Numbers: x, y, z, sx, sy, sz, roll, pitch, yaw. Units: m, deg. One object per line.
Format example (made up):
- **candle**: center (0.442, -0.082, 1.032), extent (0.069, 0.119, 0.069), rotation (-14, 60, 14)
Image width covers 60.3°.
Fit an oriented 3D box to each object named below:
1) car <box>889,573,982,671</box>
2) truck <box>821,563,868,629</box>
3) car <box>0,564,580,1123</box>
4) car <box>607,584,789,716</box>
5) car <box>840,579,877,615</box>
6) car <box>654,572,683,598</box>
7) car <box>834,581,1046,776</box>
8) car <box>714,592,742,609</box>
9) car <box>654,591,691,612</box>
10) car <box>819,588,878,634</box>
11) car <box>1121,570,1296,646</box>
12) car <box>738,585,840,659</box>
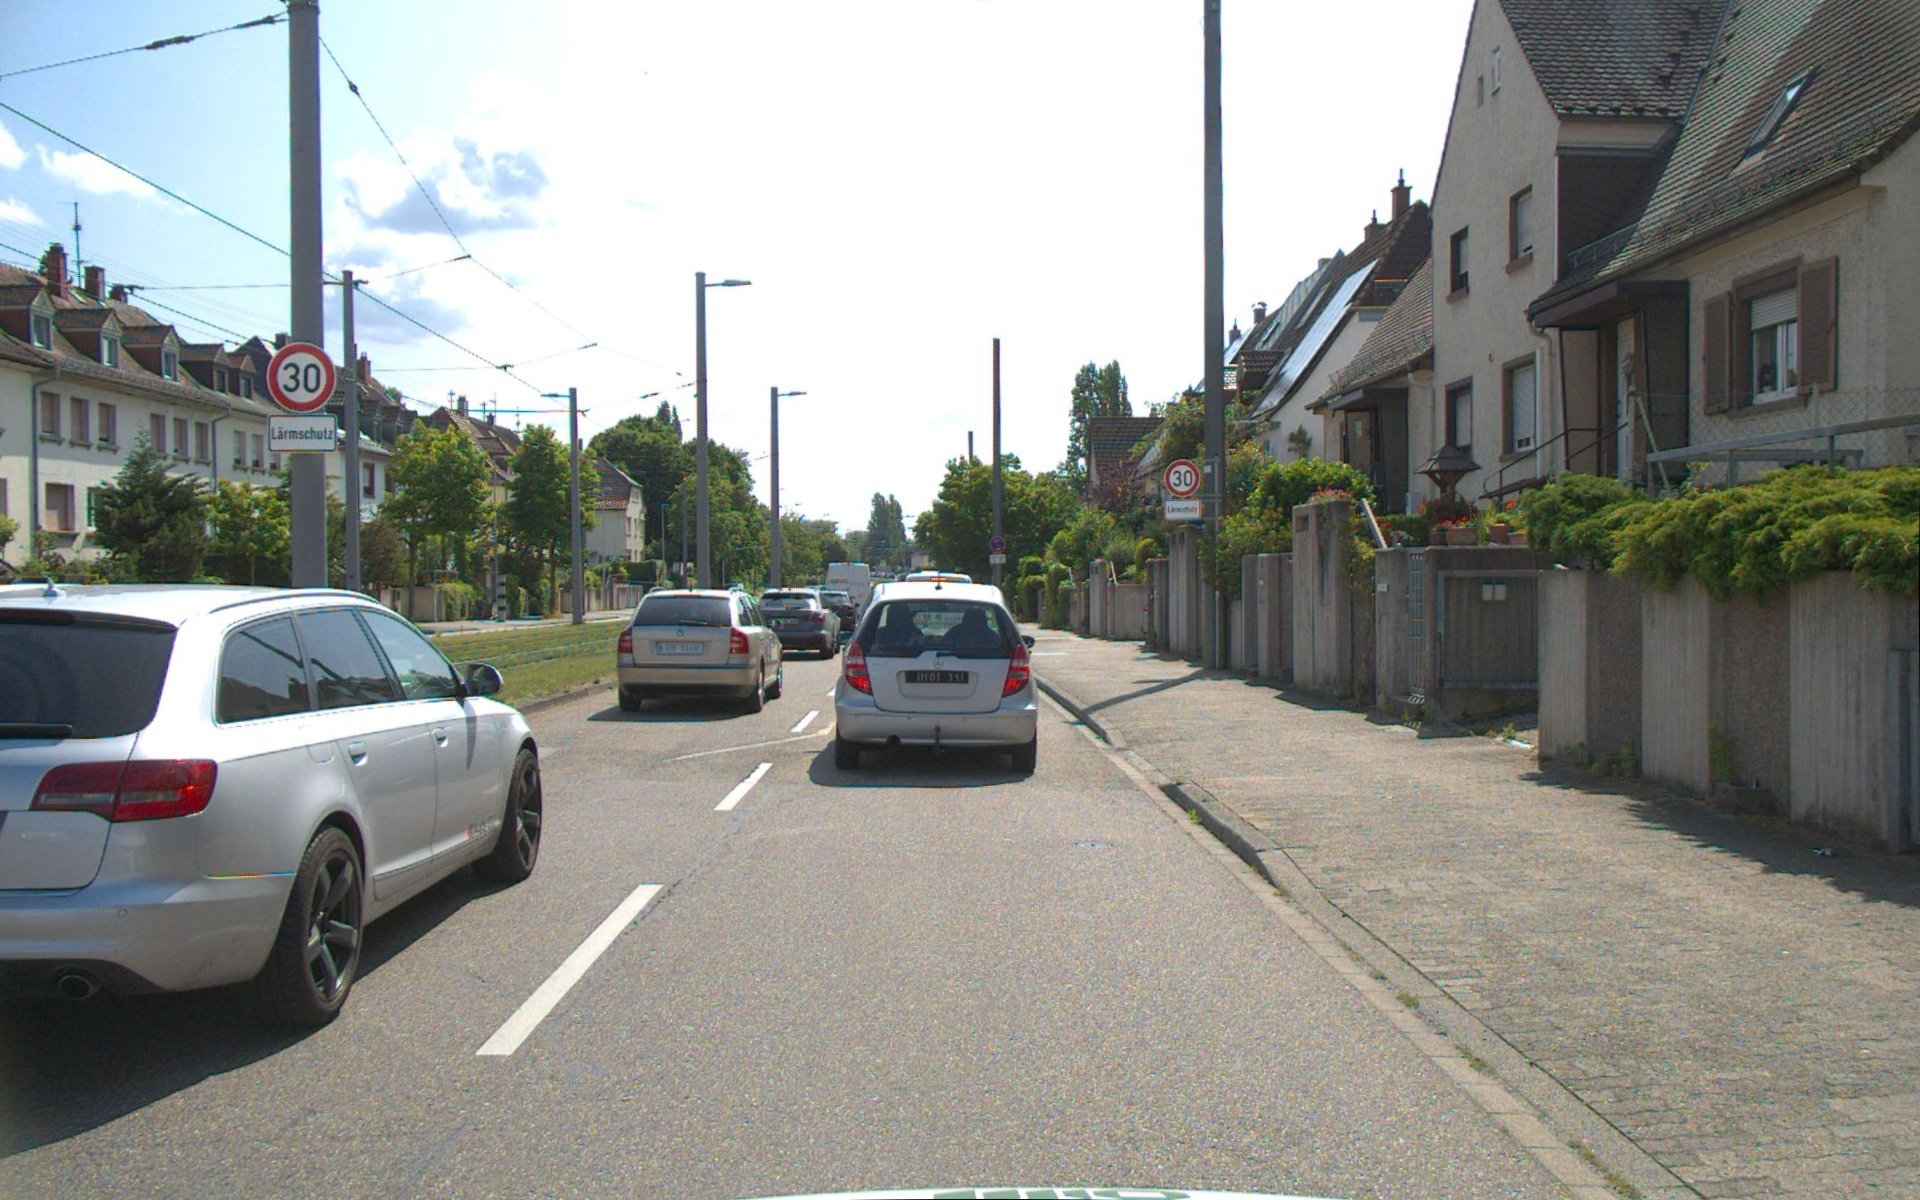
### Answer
- **car**: center (-0.486, 0.401, 32.793), extent (1.695, 1.793, 4.016), rotation (1, 0, -1)
- **truck**: center (-4.749, -0.161, 68.523), extent (1.815, 2.597, 5.851), rotation (1, 0, -3)
- **car**: center (-2.952, 0.635, 6.784), extent (1.758, 1.497, 4.721), rotation (1, 0, -1)
- **car**: center (-3.206, 0.564, 20.939), extent (1.696, 1.474, 4.122), rotation (1, 0, -1)
- **car**: center (-6.187, -0.205, 100.964), extent (1.877, 2.113, 4.562), rotation (1, 0, 0)
- **car**: center (-26.995, -1.369, 153.253), extent (1.877, 2.371, 4.562), rotation (1, 0, 0)
- **car**: center (-0.248, 0.629, 15.399), extent (1.695, 1.543, 4.014), rotation (1, 0, -3)
- **car**: center (-21.786, 0.011, 155.378), extent (1.877, 1.503, 4.562), rotation (1, 0, 0)
- **car**: center (-20.907, 0.091, 120.403), extent (1.877, 1.503, 4.562), rotation (1, 0, 0)
- **car**: center (-3.615, 0.343, 54.151), extent (1.815, 1.412, 4.511), rotation (1, 0, -3)
- **car**: center (6.111, 0.184, 41.016), extent (3.909, 1.713, 1.998), rotation (-2, 0, -5)
- **car**: center (-3.716, 0.438, 36.643), extent (1.878, 1.503, 4.561), rotation (1, 0, -2)
